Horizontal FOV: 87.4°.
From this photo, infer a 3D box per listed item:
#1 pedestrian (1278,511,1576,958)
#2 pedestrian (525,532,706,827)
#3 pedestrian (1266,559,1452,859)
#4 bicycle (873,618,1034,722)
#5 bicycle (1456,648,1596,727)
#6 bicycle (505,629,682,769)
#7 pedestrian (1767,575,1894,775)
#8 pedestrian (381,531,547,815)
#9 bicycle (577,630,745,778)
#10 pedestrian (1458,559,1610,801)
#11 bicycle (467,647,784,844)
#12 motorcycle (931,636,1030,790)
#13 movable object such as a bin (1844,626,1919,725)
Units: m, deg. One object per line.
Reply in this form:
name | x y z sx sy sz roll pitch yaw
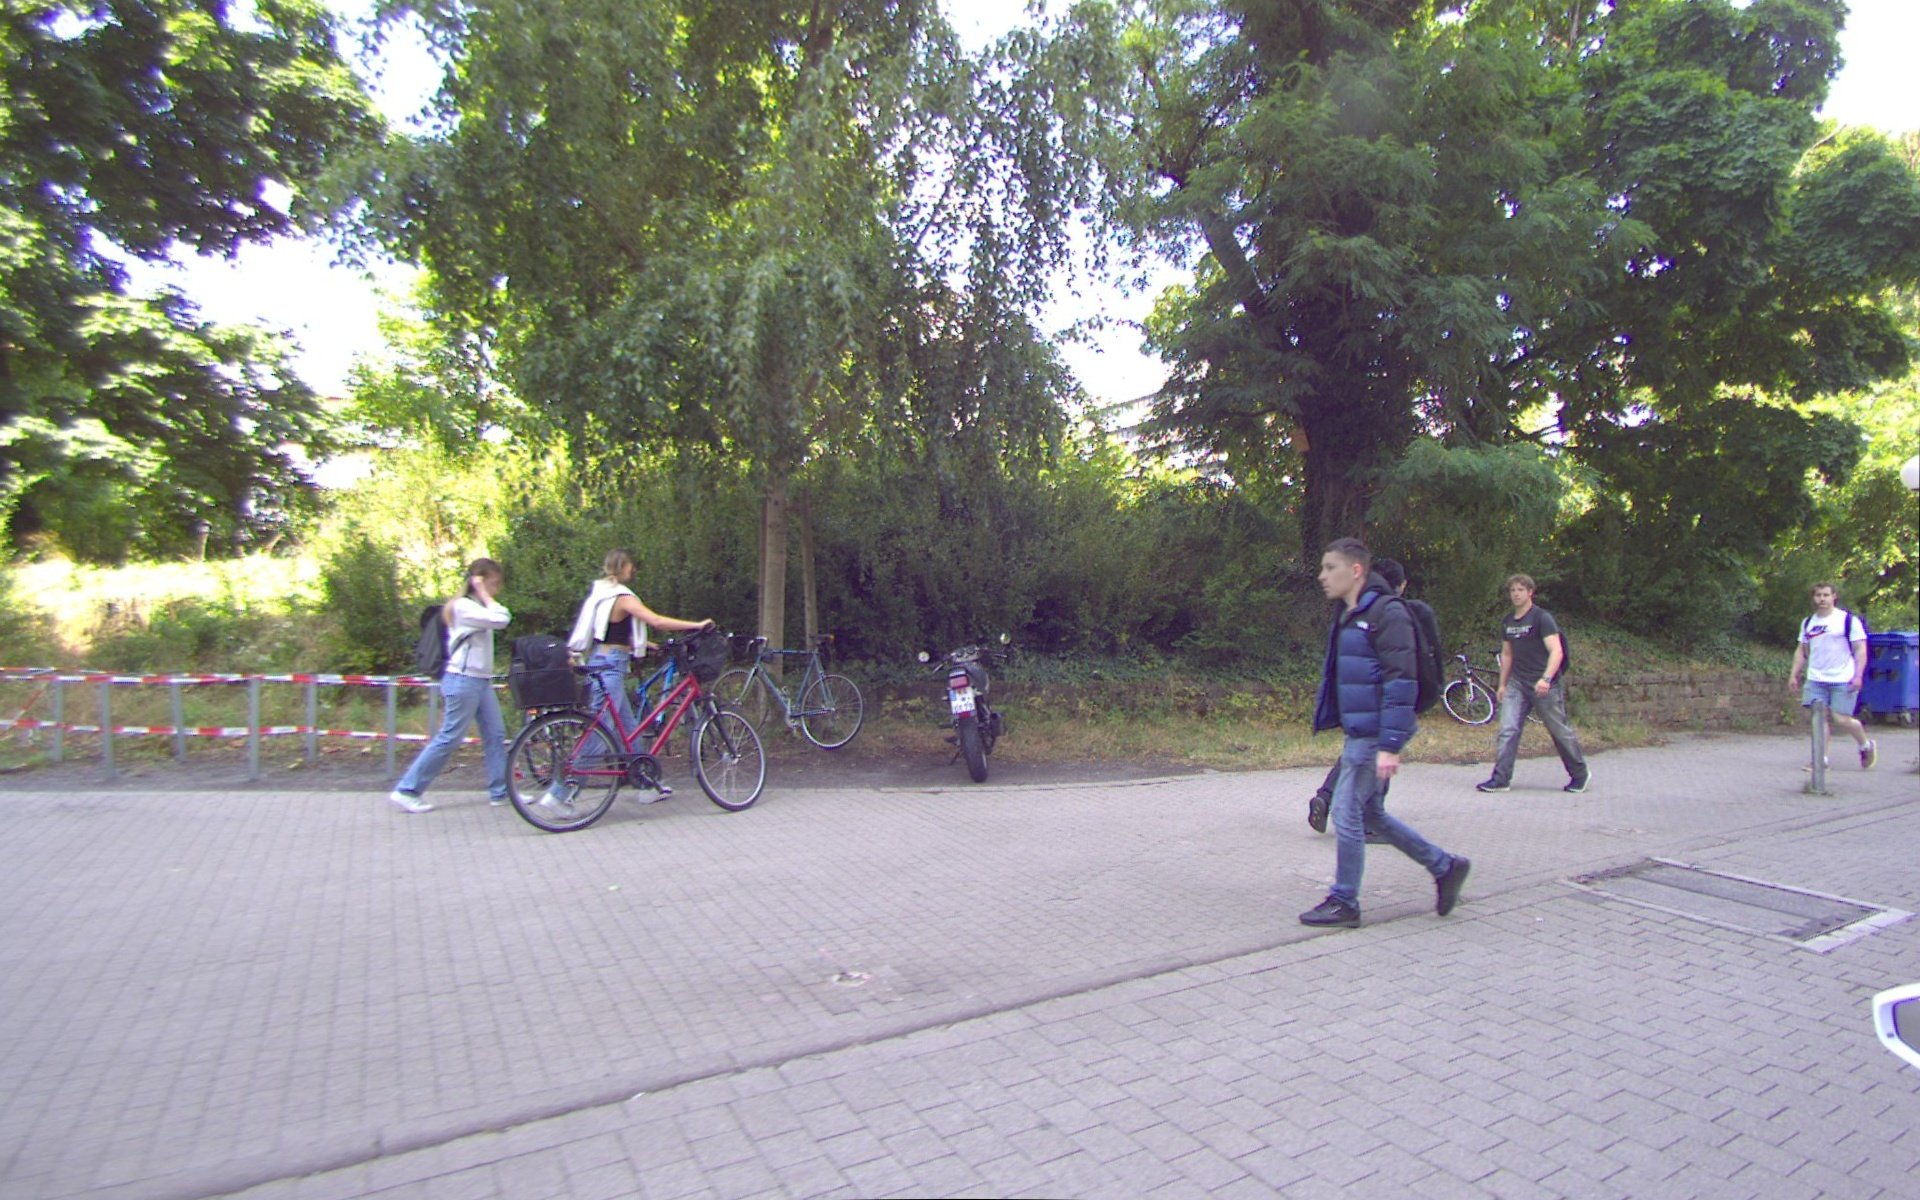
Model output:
pedestrian | 2.131 0.566 4.744 1.011 1.882 0.889 1 0 6
pedestrian | -2.232 0.480 6.531 0.931 1.747 0.669 0 -1 -43
pedestrian | 2.532 0.641 6.385 0.894 1.747 0.680 1 0 -33
bicycle | -0.078 0.759 10.939 1.669 1.061 0.473 2 1 -9
bicycle | 7.068 1.095 12.538 1.711 0.922 0.421 3 -1 -16
bicycle | -3.113 0.795 8.707 0.465 1.061 1.700 1 0 18
pedestrian | 8.835 0.732 10.196 1.072 1.906 0.719 2 -1 -35
pedestrian | -3.265 0.458 6.648 0.673 1.747 0.731 0 -1 23
bicycle | -2.503 0.826 8.607 0.465 1.061 1.700 2 1 18
pedestrian | 4.845 0.644 8.475 1.110 1.897 0.678 2 -1 -35
bicycle | -2.093 0.857 6.501 1.896 1.061 0.535 2 -1 -44
motorcycle | 0.224 0.888 8.606 0.464 1.061 2.027 1 1 12
movable object such as a bin | 13.823 1.090 14.764 1.221 1.354 0.708 1 2 -21
